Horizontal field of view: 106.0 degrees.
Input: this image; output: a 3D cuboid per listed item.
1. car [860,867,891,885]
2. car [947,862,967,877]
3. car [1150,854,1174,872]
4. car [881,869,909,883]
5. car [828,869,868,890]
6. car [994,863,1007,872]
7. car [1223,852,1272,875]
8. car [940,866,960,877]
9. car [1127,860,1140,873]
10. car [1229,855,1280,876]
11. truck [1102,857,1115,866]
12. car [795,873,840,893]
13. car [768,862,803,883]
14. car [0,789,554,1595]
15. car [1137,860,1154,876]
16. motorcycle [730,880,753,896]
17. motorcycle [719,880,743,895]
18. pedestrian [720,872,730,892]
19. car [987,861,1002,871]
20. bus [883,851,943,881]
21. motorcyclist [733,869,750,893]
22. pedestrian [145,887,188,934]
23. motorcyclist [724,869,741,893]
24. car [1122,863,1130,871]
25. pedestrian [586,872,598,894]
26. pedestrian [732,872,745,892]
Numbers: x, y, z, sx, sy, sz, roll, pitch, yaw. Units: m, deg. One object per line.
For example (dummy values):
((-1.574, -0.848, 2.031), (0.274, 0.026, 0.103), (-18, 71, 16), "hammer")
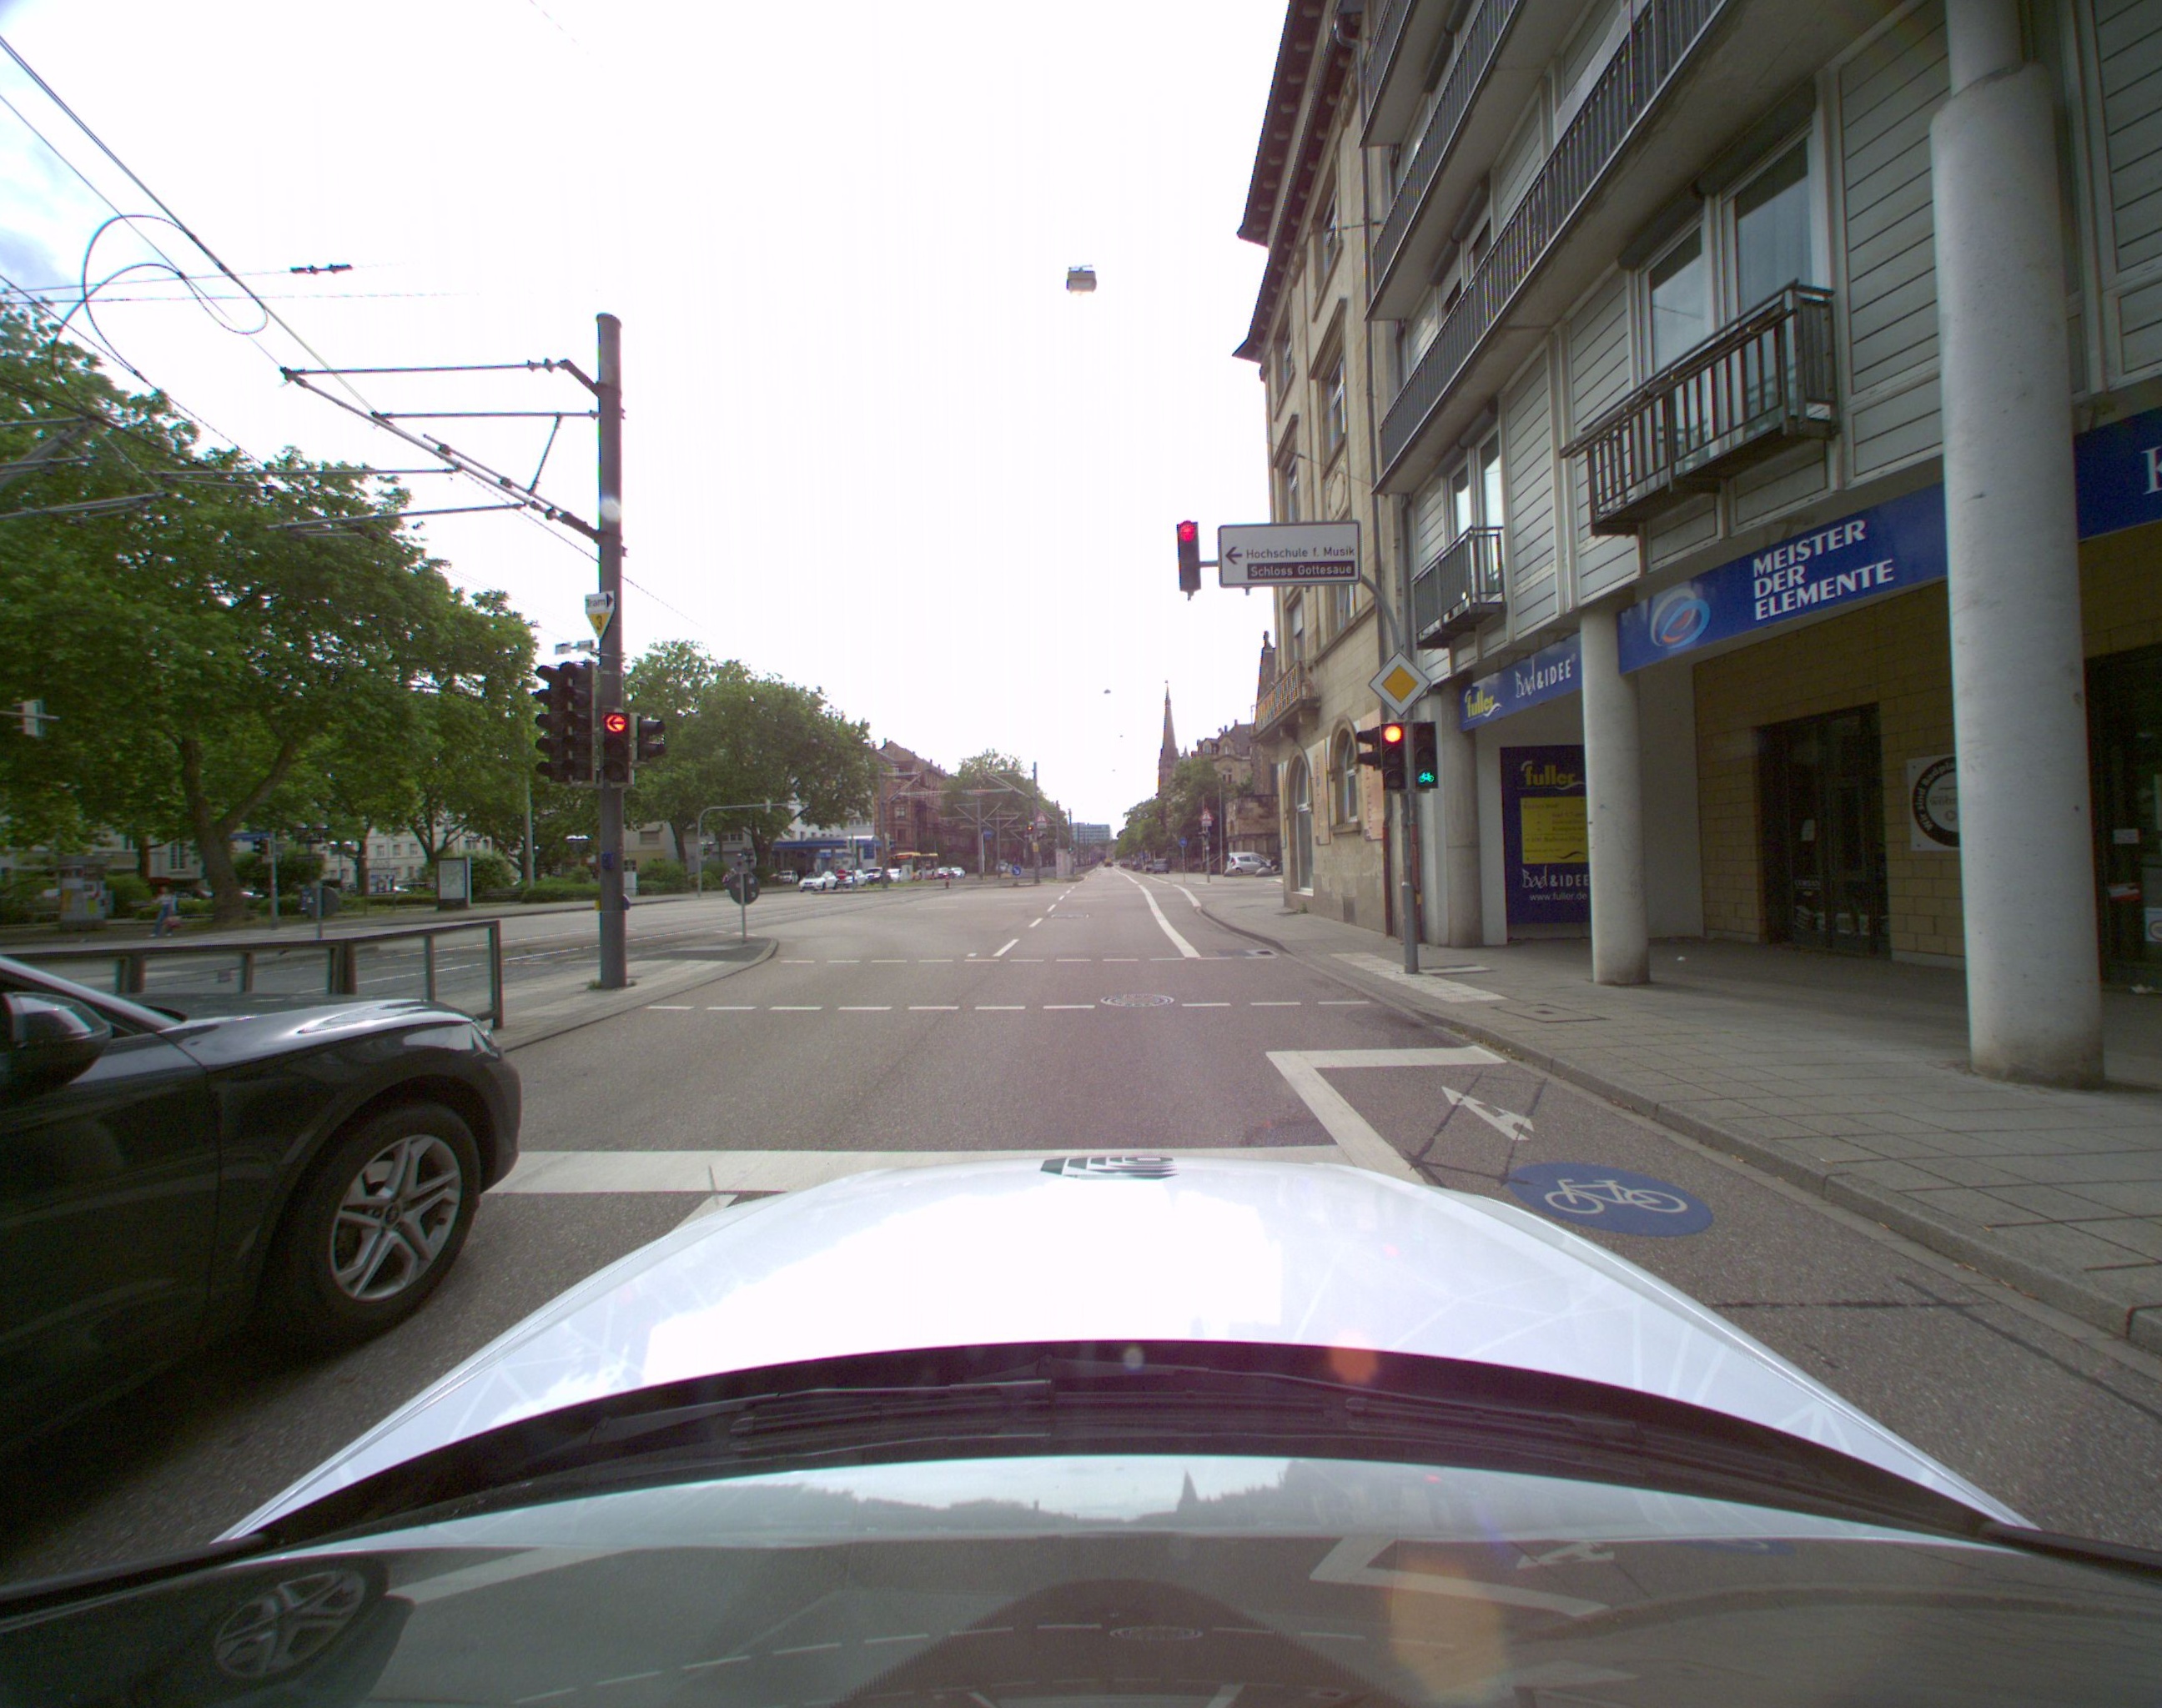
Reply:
((-18.325, 1.937, 72.704), (1.649, 1.478, 3.641), (0, -1, 3), "car")
((-16.737, 2.068, 110.174), (1.986, 2.014, 4.001), (0, -1, 2), "car")
((8.981, 0.988, 89.931), (1.979, 1.855, 4.042), (-1, -1, 14), "car")
((-18.152, 2.108, 79.625), (1.649, 1.321, 3.641), (0, -1, 3), "car")
((-18.840, 2.064, 66.061), (1.986, 1.594, 4.001), (0, -1, 2), "car")
((-14.773, 2.451, 149.885), (1.986, 1.610, 4.001), (0, -1, 2), "car")
((13.930, 0.788, 68.216), (3.699, 1.855, 2.001), (0, -1, 2), "car")
((-16.532, 2.198, 102.811), (1.649, 1.321, 3.641), (0, -1, 3), "car")
((8.707, 2.054, 135.992), (1.986, 2.014, 4.001), (0, -1, 2), "car")
((13.751, 0.905, 64.729), (3.699, 1.563, 2.001), (0, -1, 2), "car")
((8.782, 2.443, 258.904), (3.040, 2.769, 9.832), (-2, 0, 6), "truck")
((-19.169, 2.084, 59.425), (1.739, 1.321, 4.079), (0, 0, 4), "car")
((-29.775, 1.815, 82.196), (1.986, 2.014, 4.001), (-2, -1, 2), "car")
((-3.078, 0.688, 1.211), (1.727, 1.637, 4.228), (0, -1, 2), "car")
((7.904, 1.699, 99.631), (1.985, 2.014, 4.004), (0, -1, 4), "car")
((-21.574, 2.141, 51.799), (0.604, 0.928, 1.953), (-2, -1, 2), "motorcycle")
((-22.706, 2.170, 52.817), (0.604, 0.928, 1.953), (-2, -1, 2), "motorcycle")
((-26.273, 2.079, 60.058), (0.474, 1.459, 0.426), (-2, -1, 1), "pedestrian")
((-15.034, 2.069, 142.076), (1.986, 1.610, 4.001), (0, -1, 2), "car")
((-18.292, 1.307, 89.702), (3.217, 3.035, 12.323), (0, 0, 4), "bus")
((-21.582, 1.726, 51.805), (0.617, 1.520, 0.874), (-2, -1, 2), "motorcyclist")
((-30.401, 1.869, 27.077), (0.656, 1.510, 0.680), (-1, -1, -15), "pedestrian")
((-22.687, 1.743, 53.018), (0.617, 1.520, 0.874), (-2, -1, 2), "motorcyclist")
((11.945, 3.371, 216.767), (1.986, 2.014, 4.001), (0, -1, 2), "car")
((-38.834, 2.276, 64.680), (0.596, 1.700, 0.615), (-2, -1, 30), "pedestrian")
((-25.322, 2.079, 60.205), (0.645, 1.479, 0.557), (-2, -1, 1), "pedestrian")
